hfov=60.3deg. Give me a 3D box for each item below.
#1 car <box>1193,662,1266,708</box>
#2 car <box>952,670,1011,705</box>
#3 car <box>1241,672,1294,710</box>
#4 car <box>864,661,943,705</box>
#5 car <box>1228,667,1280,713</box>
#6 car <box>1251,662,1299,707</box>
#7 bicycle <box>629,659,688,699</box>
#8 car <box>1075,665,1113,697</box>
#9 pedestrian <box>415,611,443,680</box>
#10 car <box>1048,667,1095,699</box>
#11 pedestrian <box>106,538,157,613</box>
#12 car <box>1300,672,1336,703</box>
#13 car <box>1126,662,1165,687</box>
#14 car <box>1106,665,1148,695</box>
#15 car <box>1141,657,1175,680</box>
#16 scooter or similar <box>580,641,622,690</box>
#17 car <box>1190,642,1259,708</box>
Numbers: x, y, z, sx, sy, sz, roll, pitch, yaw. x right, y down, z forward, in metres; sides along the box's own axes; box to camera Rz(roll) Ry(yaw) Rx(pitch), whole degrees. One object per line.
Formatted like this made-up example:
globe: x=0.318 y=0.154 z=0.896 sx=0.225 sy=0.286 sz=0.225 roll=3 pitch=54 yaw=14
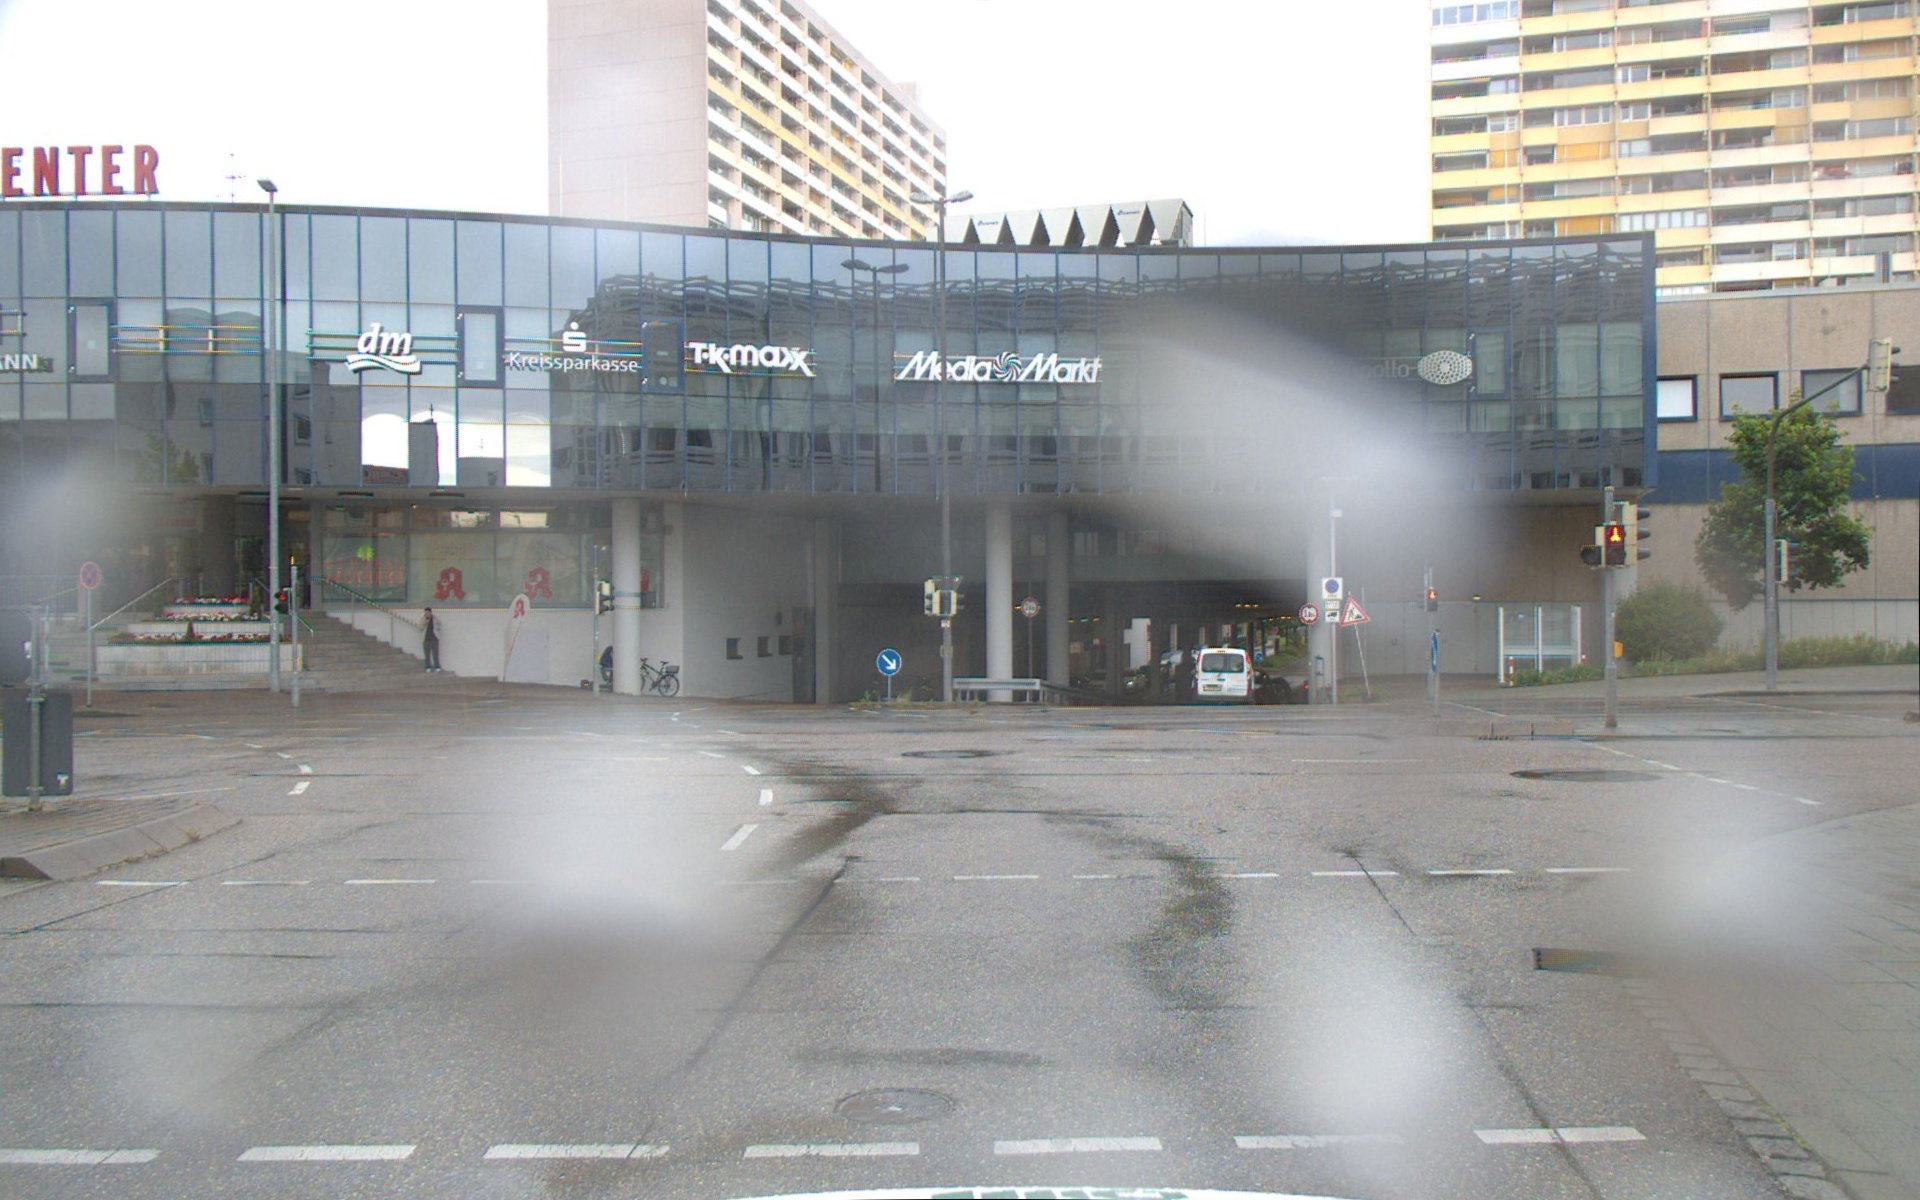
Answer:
car: x=9.251 y=2.924 z=56.484 sx=1.721 sy=1.490 sz=3.943 roll=-2 pitch=-4 yaw=20
car: x=0.995 y=3.932 z=74.370 sx=1.733 sy=1.490 sz=3.878 roll=-1 pitch=-3 yaw=15
car: x=12.293 y=3.650 z=65.966 sx=1.741 sy=1.425 sz=4.002 roll=-1 pitch=-4 yaw=15
car: x=-2.101 y=3.170 z=62.465 sx=1.852 sy=1.496 sz=4.029 roll=-1 pitch=-5 yaw=16
car: x=10.892 y=3.323 z=61.128 sx=1.598 sy=1.640 sz=4.265 roll=-2 pitch=-3 yaw=14
car: x=13.476 y=3.584 z=70.576 sx=1.753 sy=1.802 sz=4.003 roll=-1 pitch=-1 yaw=14
bicycle: x=-8.805 y=2.316 z=48.400 sx=1.566 sy=1.035 sz=0.447 roll=7 pitch=-4 yaw=-32
car: x=7.819 y=4.703 z=96.212 sx=1.797 sy=1.758 sz=4.003 roll=-1 pitch=-1 yaw=11
pedestrian: x=-15.007 y=1.286 z=46.779 sx=0.643 sy=1.942 sz=0.593 roll=1 pitch=-1 yaw=-9
car: x=6.184 y=4.546 z=91.301 sx=1.874 sy=1.616 sz=3.941 roll=-1 pitch=-1 yaw=15
pedestrian: x=-23.099 y=-0.679 z=46.137 sx=0.812 sy=2.049 sz=0.953 roll=1 pitch=-1 yaw=11
car: x=19.738 y=4.794 z=91.114 sx=1.847 sy=1.517 sz=3.844 roll=1 pitch=-1 yaw=13
car: x=12.306 y=4.941 z=109.611 sx=1.951 sy=1.489 sz=4.003 roll=-1 pitch=-1 yaw=15
car: x=10.292 y=4.927 z=101.882 sx=1.951 sy=1.693 sz=4.003 roll=1 pitch=-1 yaw=15
car: x=13.750 y=4.760 z=114.721 sx=1.951 sy=1.489 sz=4.003 roll=-1 pitch=-1 yaw=12
scooter or similar: x=-10.433 y=1.908 z=48.007 sx=1.147 sy=1.397 sz=0.487 roll=1 pitch=-1 yaw=-16
car: x=7.821 y=2.190 z=48.705 sx=1.884 sy=1.829 sz=4.299 roll=-1 pitch=-2 yaw=10
